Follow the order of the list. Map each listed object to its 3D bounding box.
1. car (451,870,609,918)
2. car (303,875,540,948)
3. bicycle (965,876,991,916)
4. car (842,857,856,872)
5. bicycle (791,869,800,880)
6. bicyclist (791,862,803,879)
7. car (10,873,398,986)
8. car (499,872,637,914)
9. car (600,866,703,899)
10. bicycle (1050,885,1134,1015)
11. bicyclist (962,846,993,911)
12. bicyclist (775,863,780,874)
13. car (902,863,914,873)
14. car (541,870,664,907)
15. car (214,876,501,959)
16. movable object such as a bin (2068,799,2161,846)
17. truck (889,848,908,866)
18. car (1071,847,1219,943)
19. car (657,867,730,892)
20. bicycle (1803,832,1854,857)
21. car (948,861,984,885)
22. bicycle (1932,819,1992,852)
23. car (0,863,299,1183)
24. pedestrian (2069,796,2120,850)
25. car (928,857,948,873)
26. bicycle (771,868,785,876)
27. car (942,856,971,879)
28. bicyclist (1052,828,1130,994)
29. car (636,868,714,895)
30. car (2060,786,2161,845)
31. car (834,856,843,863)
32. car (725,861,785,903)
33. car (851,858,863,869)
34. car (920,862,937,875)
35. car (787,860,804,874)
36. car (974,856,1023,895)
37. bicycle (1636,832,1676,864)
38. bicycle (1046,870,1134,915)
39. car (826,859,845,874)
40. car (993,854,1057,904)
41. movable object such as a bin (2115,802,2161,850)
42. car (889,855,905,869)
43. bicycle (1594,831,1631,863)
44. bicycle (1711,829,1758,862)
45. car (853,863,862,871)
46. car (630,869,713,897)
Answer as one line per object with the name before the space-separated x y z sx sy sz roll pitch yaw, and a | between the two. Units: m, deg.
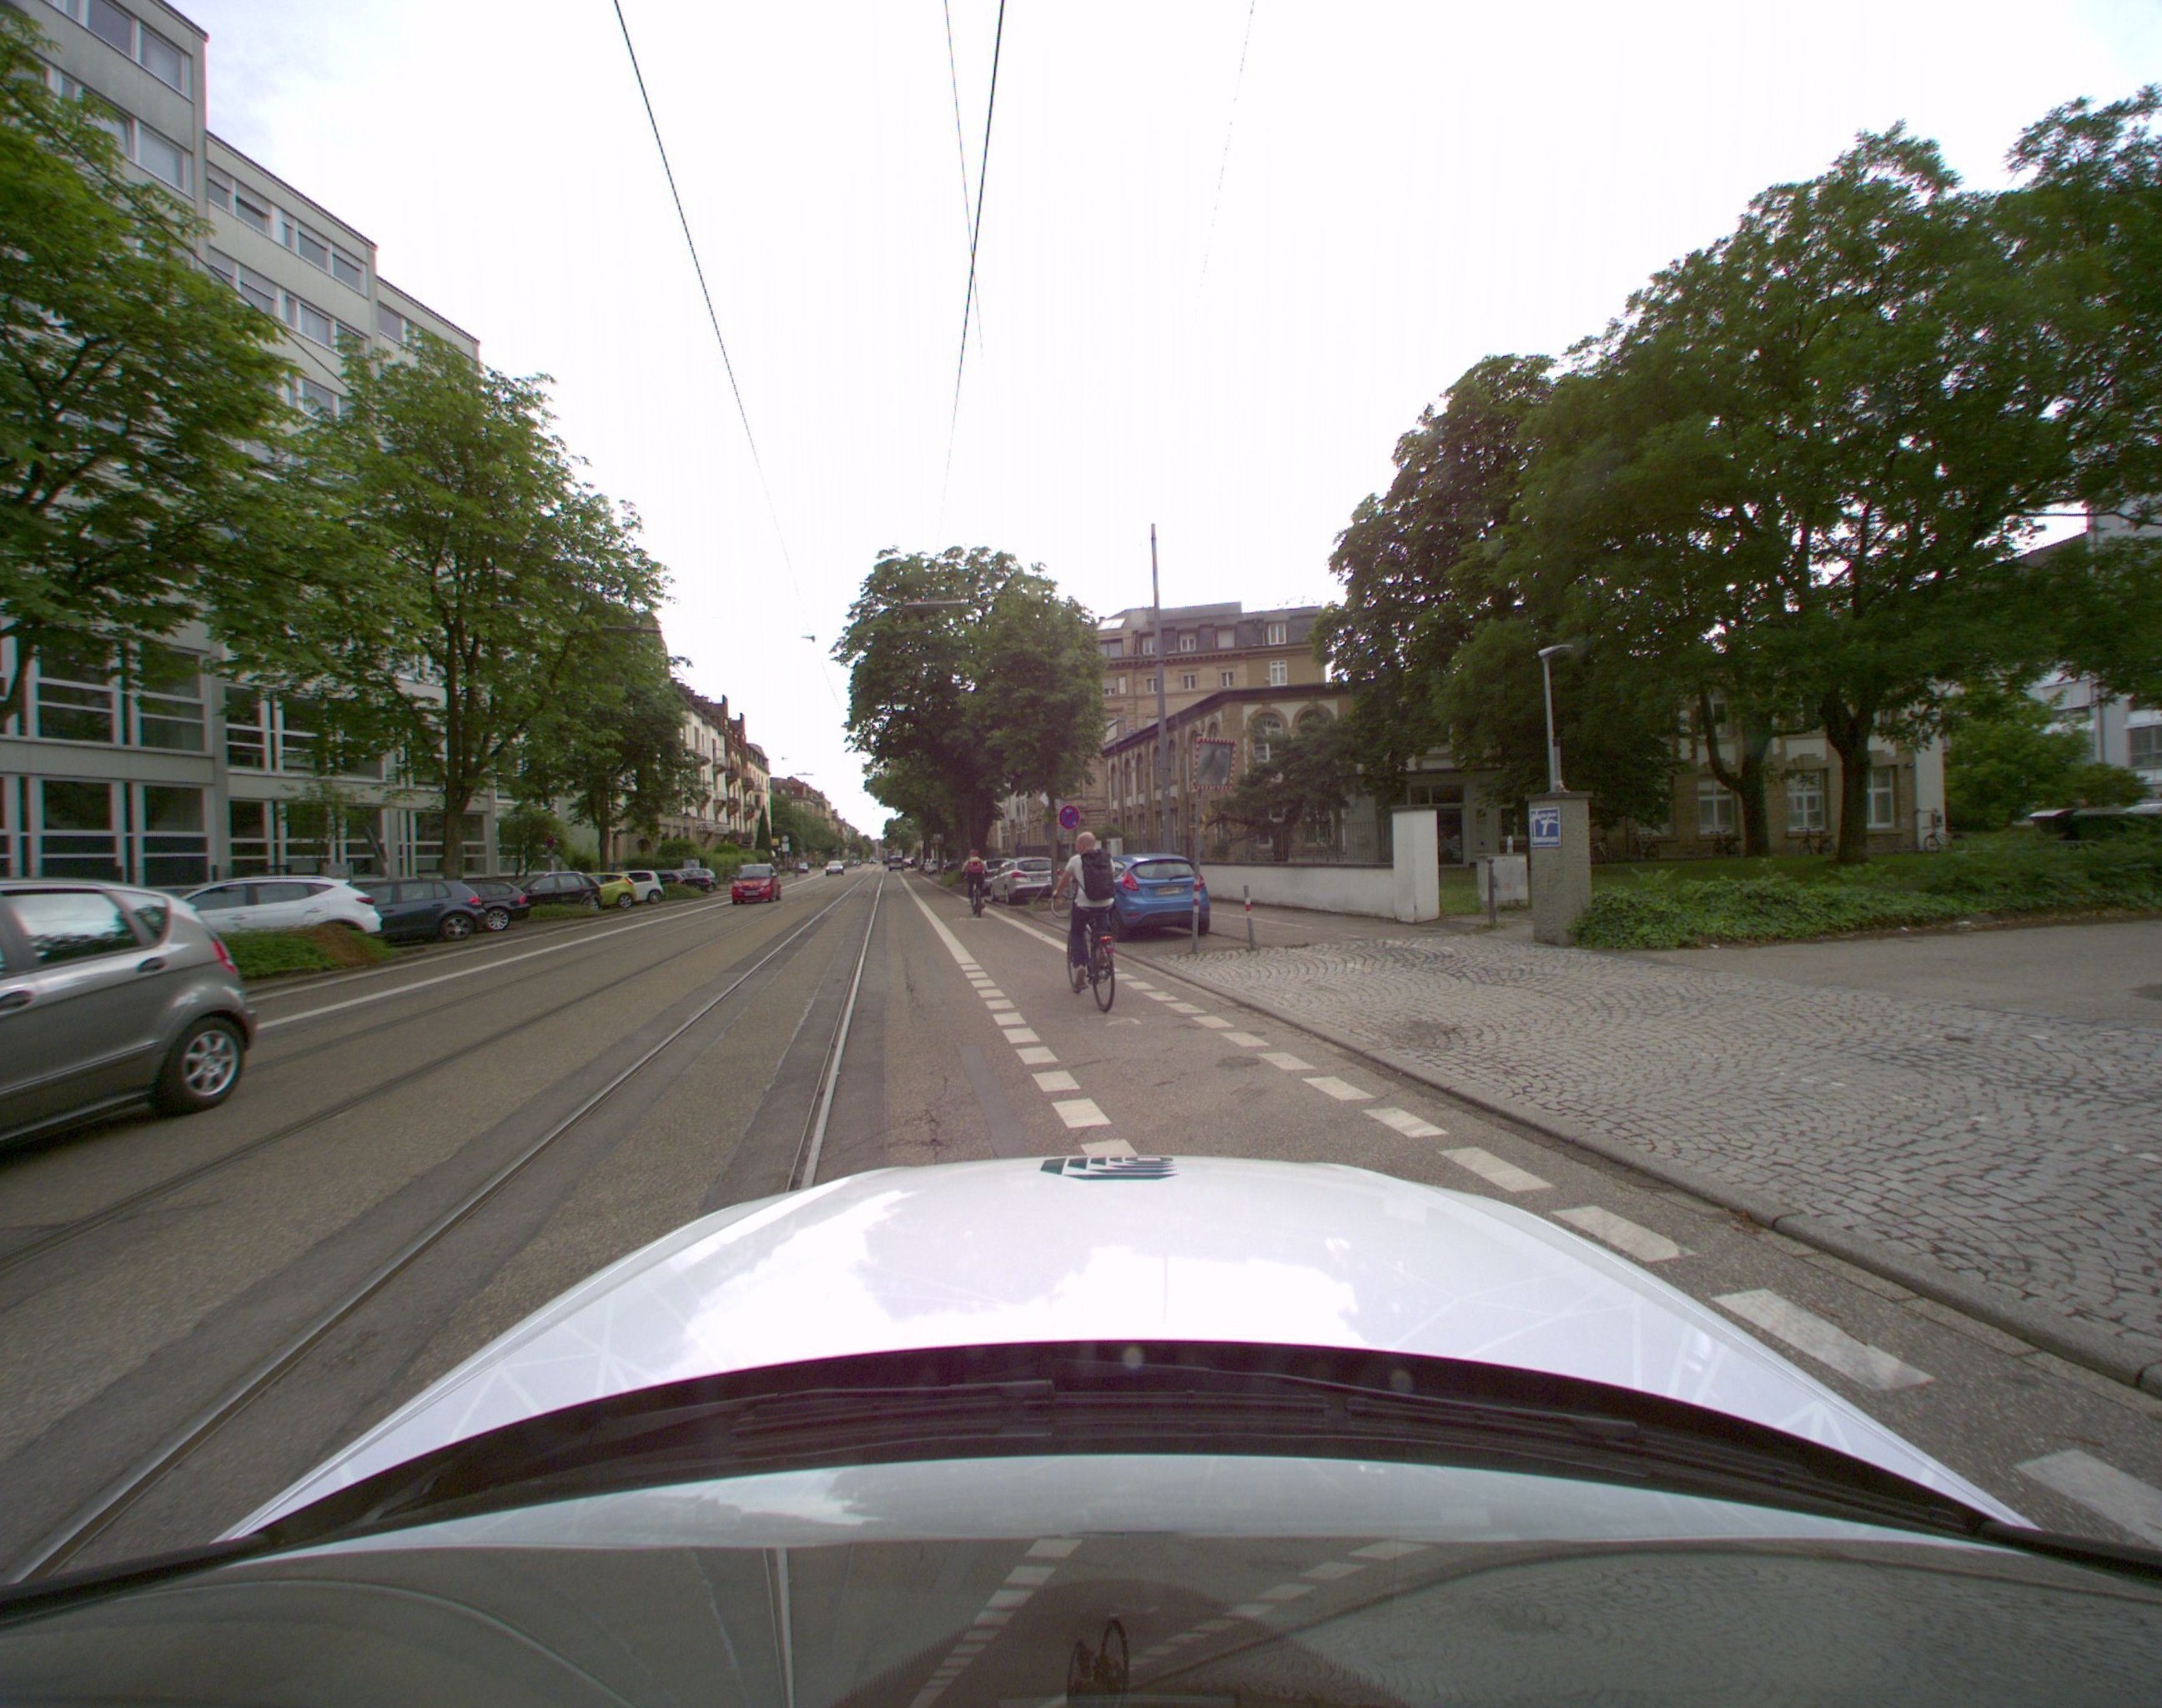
car | -18.133 1.271 27.000 1.678 1.352 3.993 -1 0 31
car | -16.590 1.366 20.742 1.678 1.535 4.374 -1 0 31
bicycle | -2.714 1.079 21.335 0.490 0.979 2.049 -1 -1 -12
car | -39.538 1.739 138.596 2.210 2.417 3.978 -3 0 -16
bicycle | -25.924 1.867 73.873 0.469 0.869 2.129 -2 0 -12
bicyclist | -25.809 1.490 74.008 0.844 1.500 1.023 -2 0 -12
car | -15.134 1.181 14.398 1.678 1.556 4.373 -1 0 28
car | -18.909 1.398 30.190 1.678 1.352 3.993 -1 0 31
car | -20.121 1.304 38.314 1.678 1.352 3.993 -1 0 31
bicycle | 0.069 0.915 8.434 0.663 1.117 1.863 0 0 -6
bicyclist | -2.702 0.624 21.182 0.658 1.610 0.916 -2 0 -12
bicyclist | -33.199 1.555 89.092 0.514 1.169 0.435 -1 0 -21
car | -27.145 2.197 127.738 1.771 1.399 3.780 -2 0 -11
car | -19.408 1.358 33.186 1.678 1.352 3.993 -1 0 31
car | -15.548 1.272 17.784 1.678 1.454 4.374 -1 0 31
movable object such as a bin | 29.762 -0.884 23.435 1.047 1.264 1.356 -2 0 5
truck | -44.702 0.690 199.460 3.816 4.029 10.160 -2 0 -16
car | 1.045 0.659 15.028 1.676 1.460 3.416 -3 1 -14
car | -23.521 1.541 49.477 3.737 1.386 1.681 -1 0 -38
bicycle | 26.392 -0.346 28.775 0.612 0.813 1.954 -2 0 20
car | -6.737 1.065 47.419 1.874 1.251 3.985 -2 0 -11
bicycle | 29.993 -0.628 27.758 0.392 1.065 1.834 -2 0 12
car | -6.208 0.877 3.851 1.903 1.530 3.736 -4 1 -14
pedestrian | 35.075 -1.067 28.187 0.749 1.809 0.700 -2 -2 9
car | -12.933 0.982 73.779 1.668 1.399 3.647 -2 0 -11
bicycle | -33.150 1.996 89.111 1.451 0.800 0.432 -2 0 -21
car | -8.490 0.907 55.401 1.792 1.399 3.780 -2 0 -11
bicyclist | 0.080 0.538 8.270 0.661 1.569 0.984 -1 0 -6
car | -23.092 1.561 46.344 3.737 1.386 1.681 -1 0 -38
car | 38.824 -1.392 29.383 4.311 2.014 1.859 -2 -1 9
car | -66.404 1.505 223.212 1.820 2.067 3.867 -2 0 -10
car | -12.748 1.074 31.987 1.678 1.522 2.770 -1 -1 -12
car | -49.867 2.147 181.345 2.208 2.255 3.982 -2 0 -13
car | -17.486 1.640 93.300 1.771 1.399 3.780 -2 0 -11
car | -49.539 2.284 141.195 2.180 2.207 4.200 -2 0 -12
car | -3.421 0.840 33.490 1.477 1.428 3.548 -3 0 -14
bicycle | 21.114 -0.232 29.945 0.612 1.119 2.233 -2 0 20
bicycle | 0.218 0.918 19.644 2.017 0.957 0.531 -2 0 -18
car | -25.082 1.242 83.194 1.745 1.429 3.977 -2 0 -17
car | -1.899 0.769 26.564 1.477 1.481 3.548 -1 0 -14
movable object such as a bin | 29.320 -0.772 22.004 1.046 1.264 1.357 -2 0 8
car | -23.148 0.982 102.387 1.812 1.708 3.685 -1 -1 -11
bicycle | 19.817 -0.281 30.407 0.612 1.119 2.233 -2 0 20
bicycle | 23.574 -0.301 29.407 0.612 1.119 2.233 -2 0 20
car | -54.720 3.185 199.707 1.772 1.643 3.554 -2 0 -10
car | -21.900 1.525 43.573 3.737 1.386 1.681 -1 0 -38
